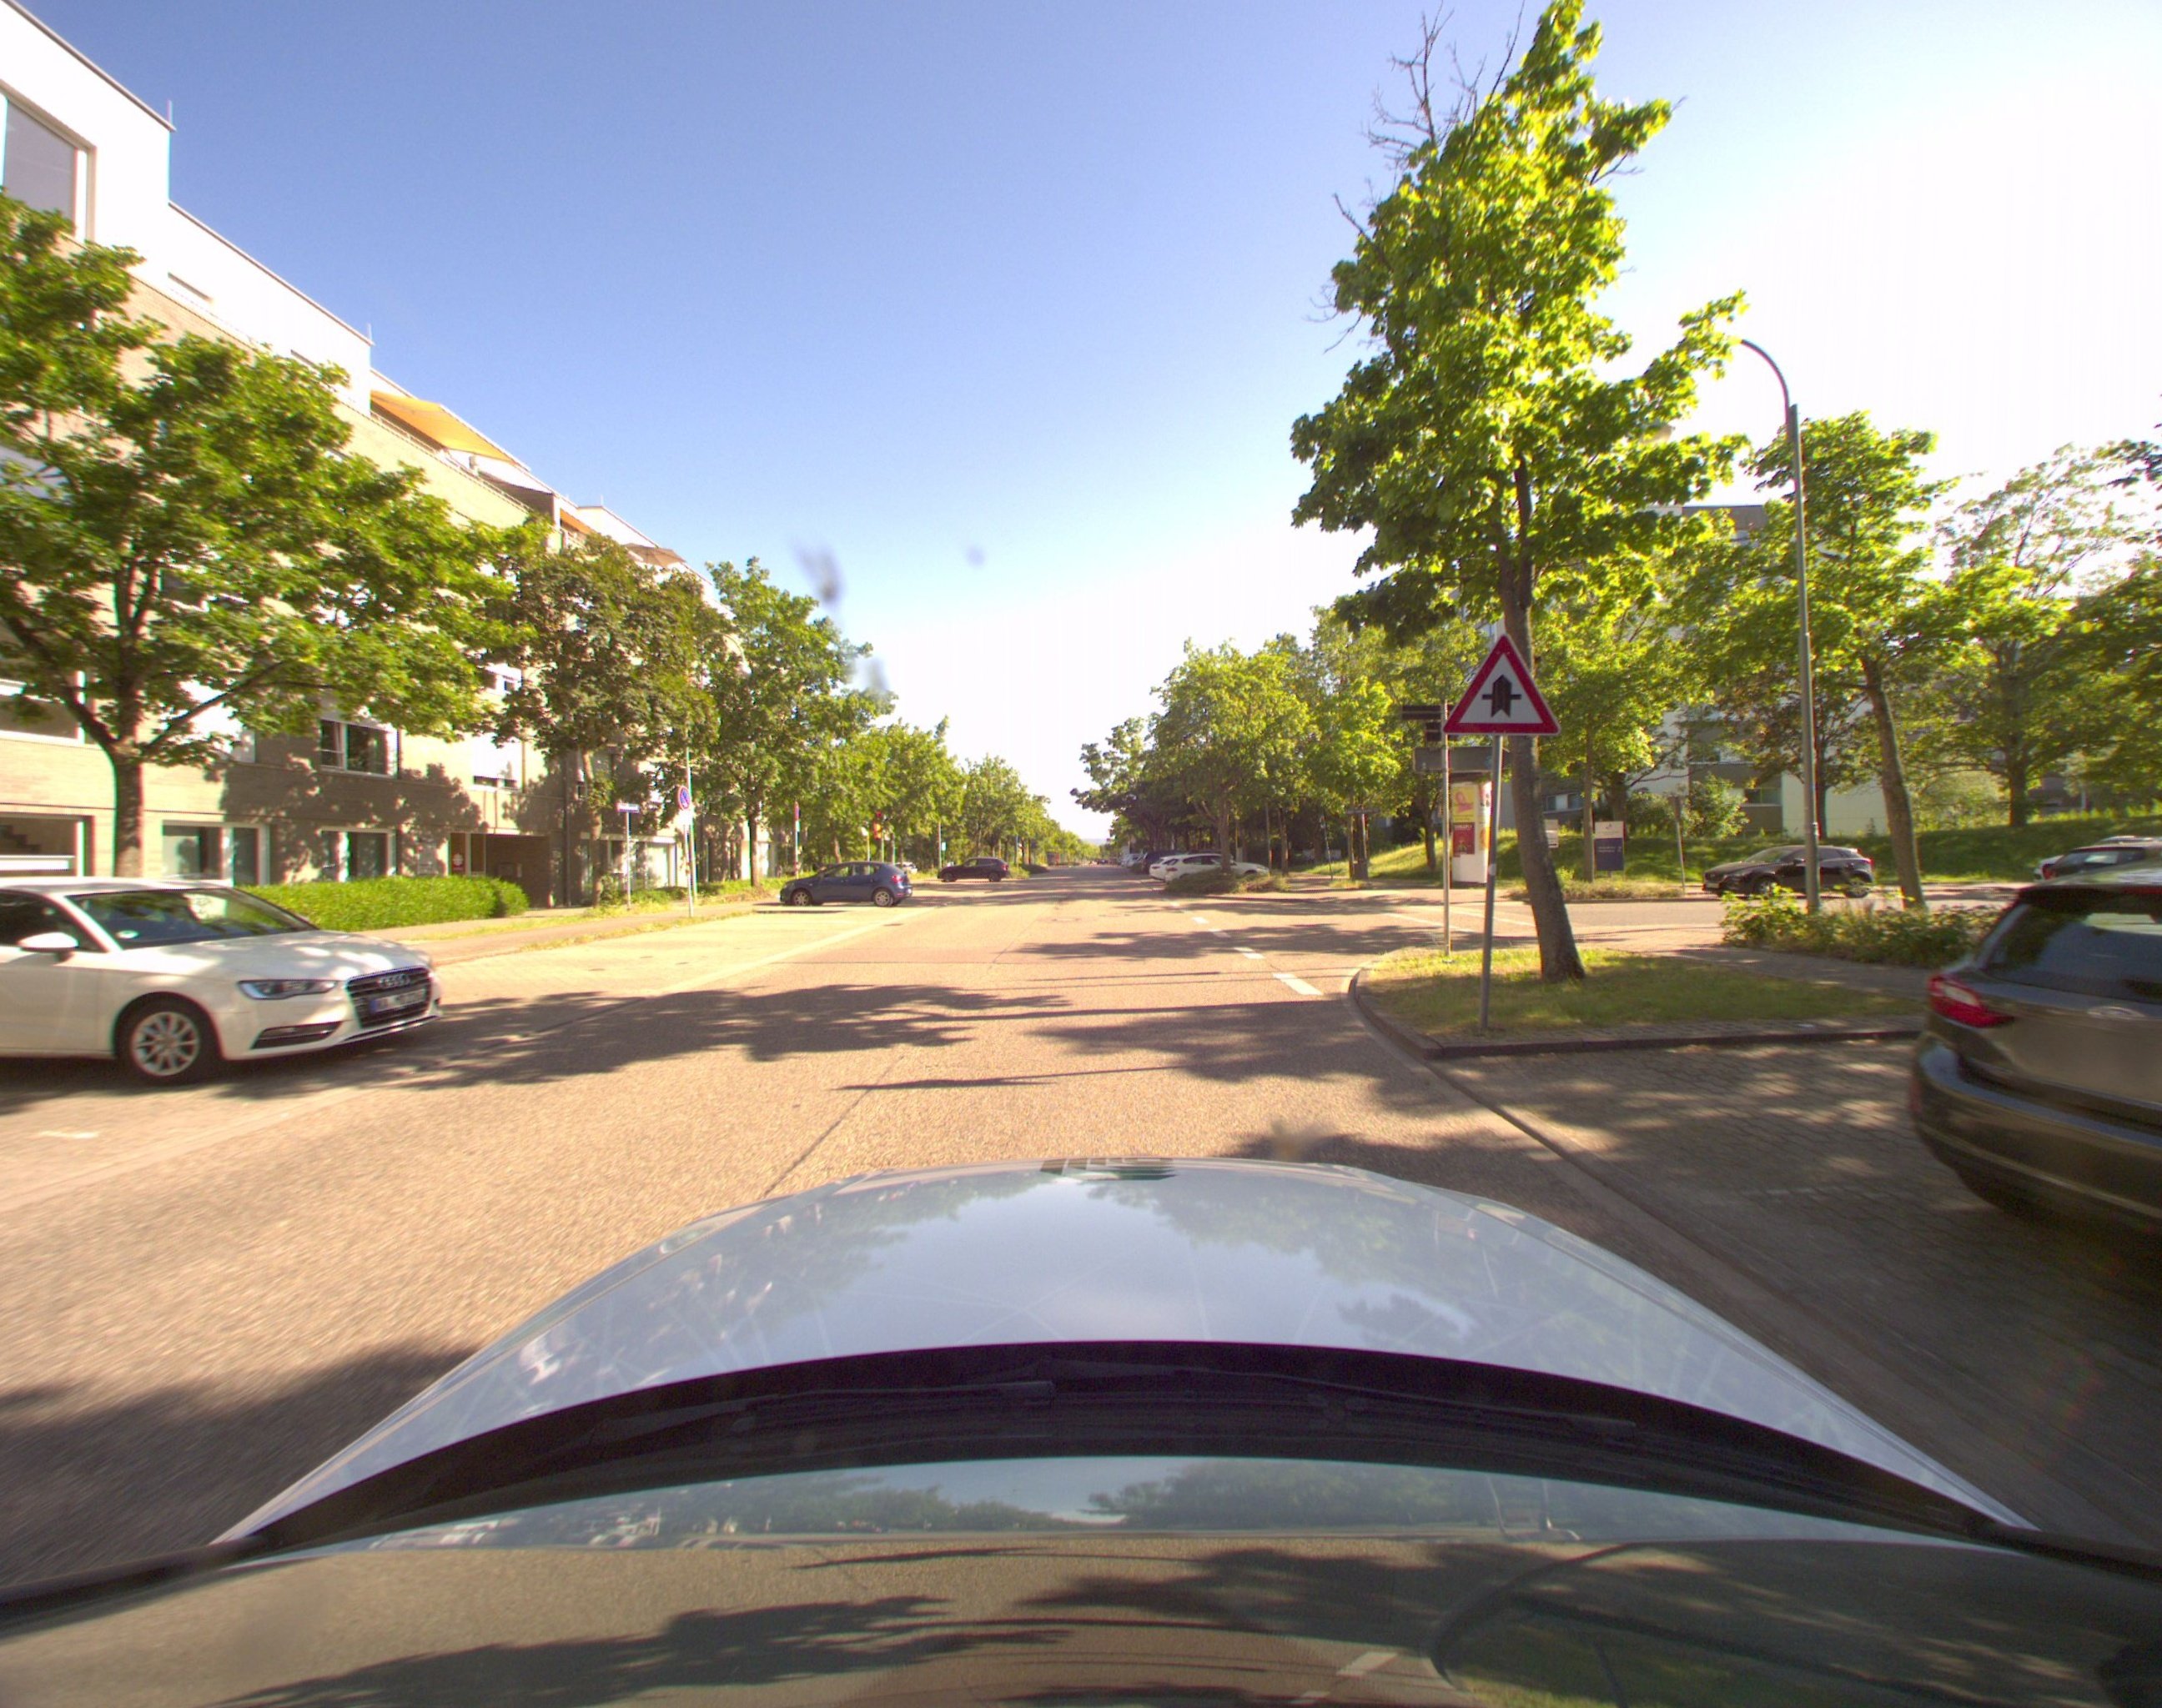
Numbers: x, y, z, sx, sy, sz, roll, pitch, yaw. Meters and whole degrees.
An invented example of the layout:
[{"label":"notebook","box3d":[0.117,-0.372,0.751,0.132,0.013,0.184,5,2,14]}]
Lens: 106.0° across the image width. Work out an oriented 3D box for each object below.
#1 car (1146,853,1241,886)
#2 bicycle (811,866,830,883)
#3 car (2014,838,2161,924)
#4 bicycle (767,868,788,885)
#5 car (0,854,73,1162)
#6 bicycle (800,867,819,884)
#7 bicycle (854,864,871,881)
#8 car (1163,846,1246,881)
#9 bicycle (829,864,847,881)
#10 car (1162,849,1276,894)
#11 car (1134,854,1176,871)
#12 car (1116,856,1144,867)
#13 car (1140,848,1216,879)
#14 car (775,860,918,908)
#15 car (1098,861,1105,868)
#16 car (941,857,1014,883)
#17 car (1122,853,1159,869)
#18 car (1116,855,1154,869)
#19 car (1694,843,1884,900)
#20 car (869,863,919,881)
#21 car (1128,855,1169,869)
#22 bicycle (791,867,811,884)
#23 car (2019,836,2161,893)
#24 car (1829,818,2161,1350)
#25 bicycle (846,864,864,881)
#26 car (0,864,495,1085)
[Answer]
[{"label":"car","box3d":[5.531,0.760,40.315,4.430,1.545,1.816,0,-1,-2]},{"label":"bicycle","box3d":[-16.413,1.285,51.375,0.435,1.047,2.194,0,-1,2]},{"label":"car","box3d":[19.751,0.454,14.589,3.972,1.448,1.770,-1,-1,2]},{"label":"bicycle","box3d":[-19.232,1.436,51.611,0.435,1.047,2.194,0,-1,2]},{"label":"car","box3d":[-7.756,0.771,3.576,4.209,1.602,1.953,0,-1,1]},{"label":"bicycle","box3d":[-17.223,1.356,51.658,0.435,1.047,2.194,0,-1,2]},{"label":"bicycle","box3d":[-13.765,1.165,51.404,0.435,1.047,2.194,0,-1,2]},{"label":"car","box3d":[6.525,0.536,43.434,4.106,1.618,1.733,-3,-2,-1]},{"label":"bicycle","box3d":[-15.793,1.185,52.968,0.435,1.047,2.194,0,-1,2]},{"label":"car","box3d":[5.742,0.730,34.256,4.415,1.593,1.835,-3,-1,-2]},{"label":"car","box3d":[7.268,0.845,79.991,3.972,1.451,1.717,-3,0,1]},{"label":"car","box3d":[7.380,1.156,123.143,4.150,1.428,2.000,-4,-1,1]},{"label":"car","box3d":[6.177,0.604,52.236,4.570,1.779,2.000,-3,-1,1]},{"label":"car","box3d":[-7.279,0.903,25.554,3.977,1.411,1.815,0,-1,-3]},{"label":"car","box3d":[6.115,3.131,246.467,1.986,2.013,4.002,0,1,2]},{"label":"car","box3d":[-6.343,0.975,50.173,4.176,1.520,1.773,0,-1,2]},{"label":"car","box3d":[7.416,0.820,101.473,4.422,1.647,1.815,-4,0,-1]},{"label":"car","box3d":[6.523,0.947,98.782,4.330,1.489,1.737,-4,-1,-1]},{"label":"car","box3d":[20.616,0.498,23.824,3.974,1.530,1.834,-1,0,0]},{"label":"car","box3d":[-16.925,1.627,73.798,4.061,1.451,1.626,-3,-1,2]},{"label":"car","box3d":[7.072,0.813,84.879,4.253,1.428,1.830,-1,-1,5]},{"label":"bicycle","box3d":[-17.757,1.371,51.666,0.435,1.047,2.194,0,-1,2]},{"label":"car","box3d":[31.121,0.303,24.185,4.430,1.619,1.834,0,-1,-1]},{"label":"car","box3d":[4.957,0.557,2.542,3.825,1.446,1.591,-4,1,-2]},{"label":"bicycle","box3d":[-14.246,1.170,51.403,0.435,1.047,2.194,0,-1,2]},{"label":"car","box3d":[-7.515,0.863,6.556,4.244,1.480,1.800,-1,0,0]}]
